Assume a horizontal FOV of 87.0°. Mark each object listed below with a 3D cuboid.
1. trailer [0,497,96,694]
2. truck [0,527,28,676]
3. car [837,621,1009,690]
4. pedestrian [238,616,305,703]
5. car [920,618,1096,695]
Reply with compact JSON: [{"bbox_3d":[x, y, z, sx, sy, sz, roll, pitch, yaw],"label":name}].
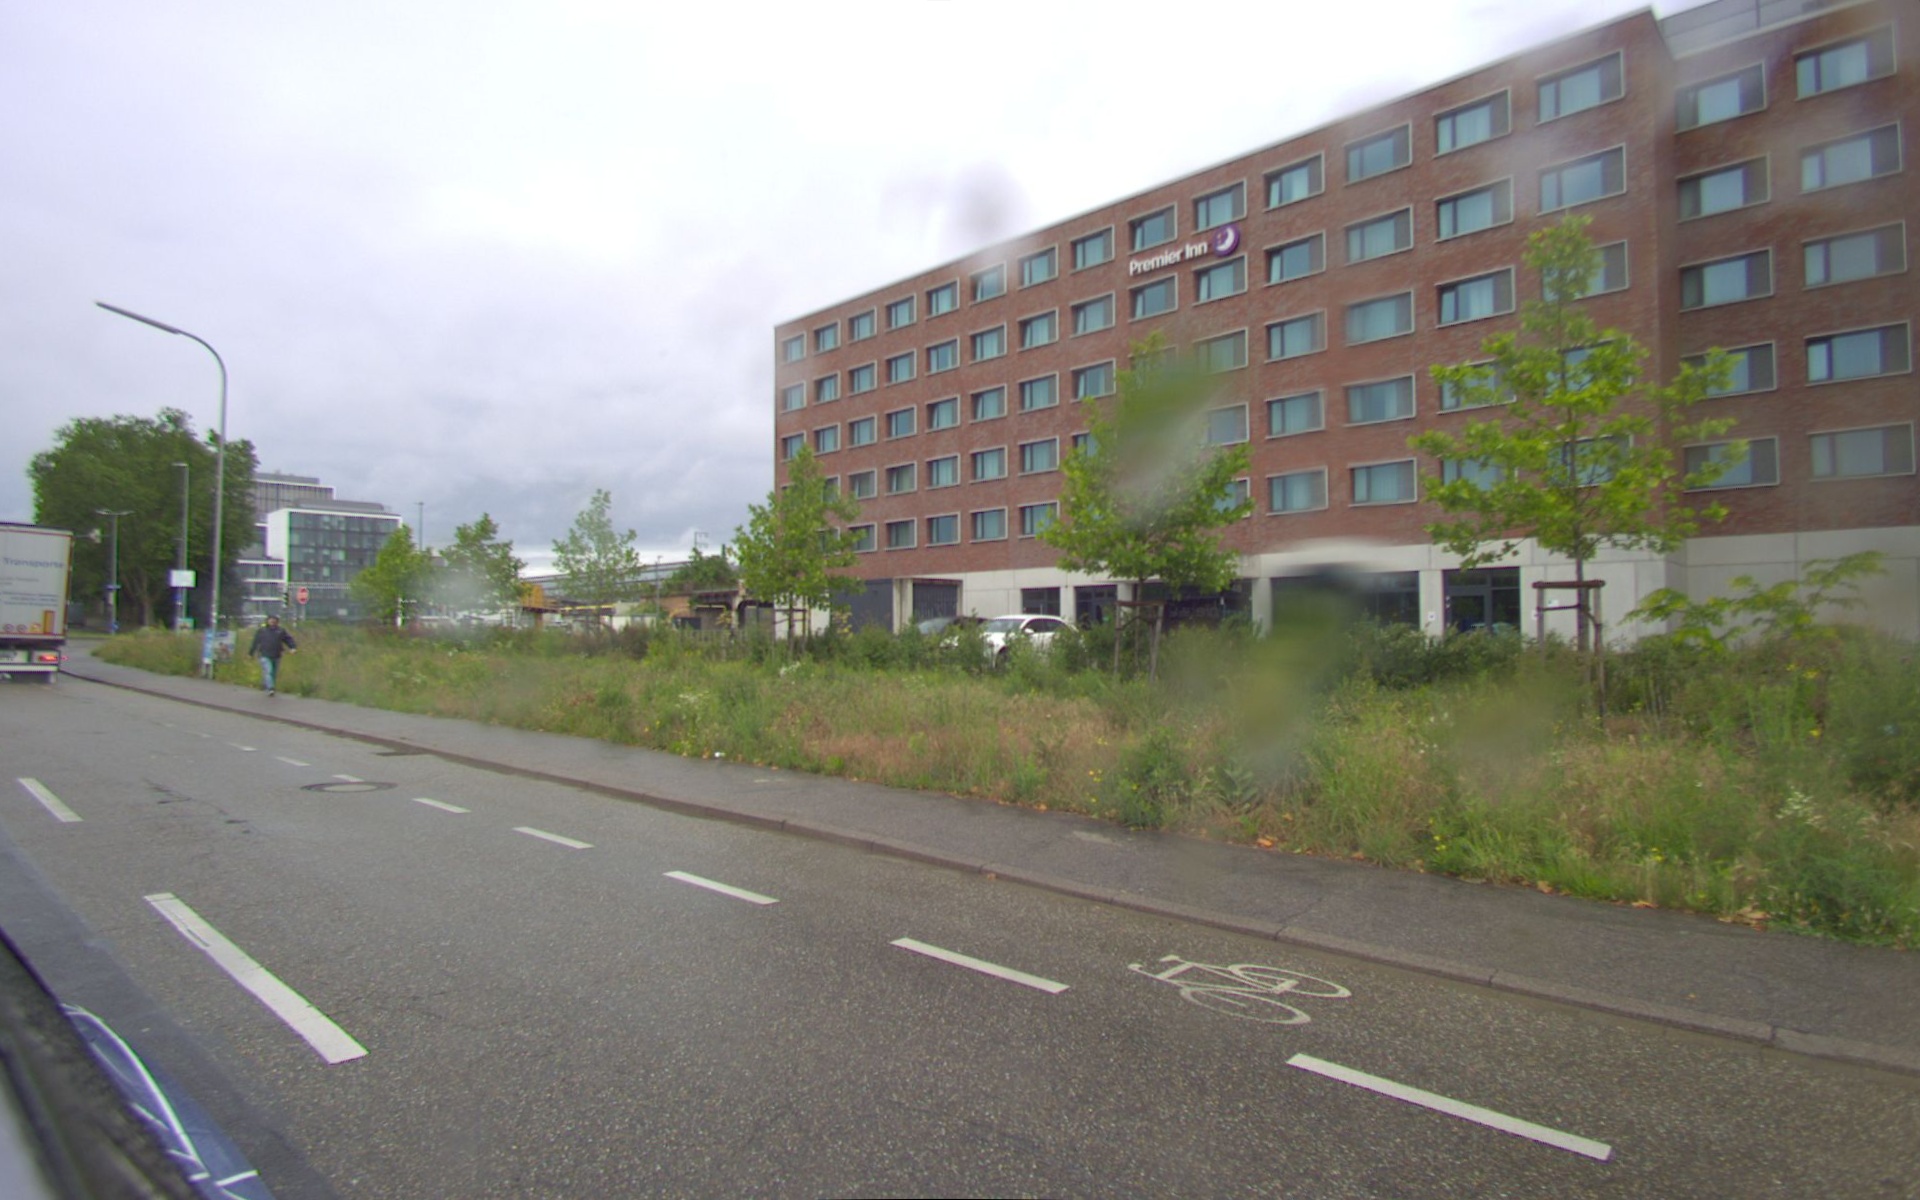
[{"bbox_3d":[-27.932,0.038,28.521,13.724,4.689,3.260,-2,-3,41],"label":"trailer"},{"bbox_3d":[-33.134,0.068,32.977,6.029,4.689,3.260,-2,-3,41],"label":"truck"},{"bbox_3d":[-0.851,1.363,25.880,1.998,1.592,4.477,-1,-2,38],"label":"car"},{"bbox_3d":[-14.286,1.218,21.000,1.026,1.731,0.899,-1,-3,42],"label":"pedestrian"},{"bbox_3d":[1.249,1.292,24.164,1.998,1.654,4.477,-1,-2,38],"label":"car"}]
